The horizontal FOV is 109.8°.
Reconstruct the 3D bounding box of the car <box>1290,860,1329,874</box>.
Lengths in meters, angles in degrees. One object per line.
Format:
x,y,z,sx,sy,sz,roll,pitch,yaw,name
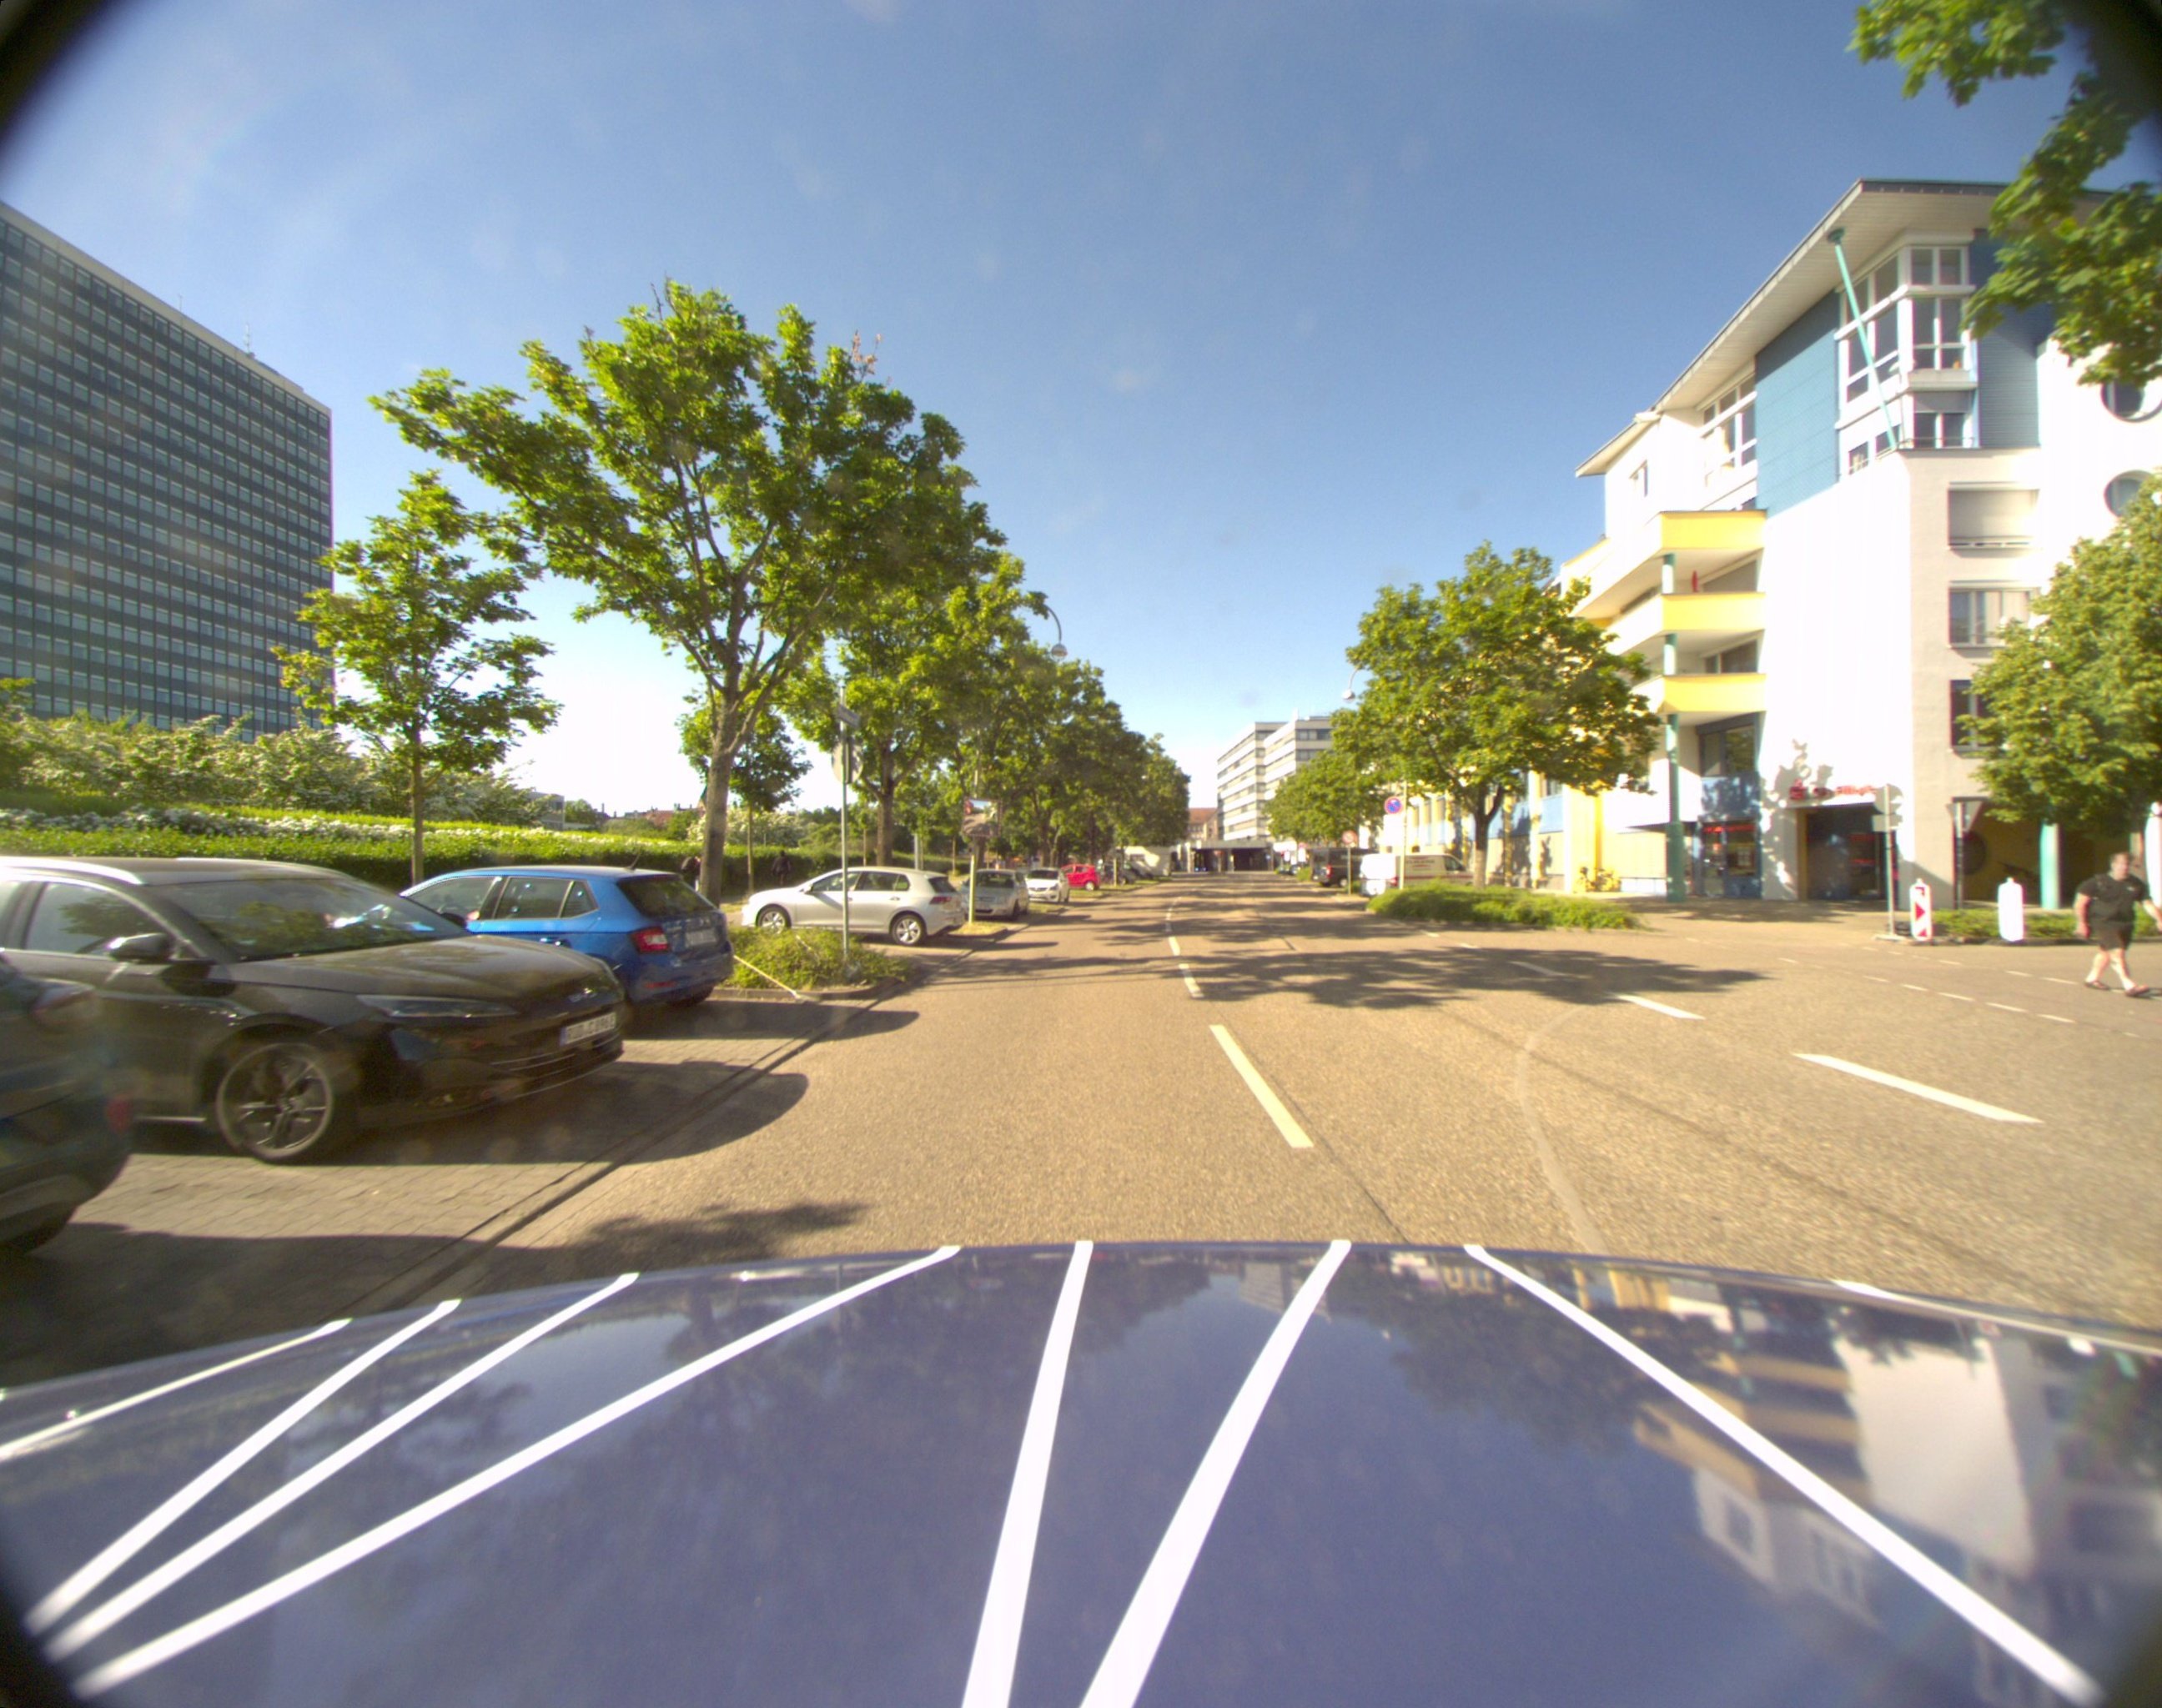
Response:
25.920,1.508,86.261,4.004,1.455,1.808,-2,0,-22,car

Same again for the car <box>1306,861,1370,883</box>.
19.399,1.348,57.367,4.235,1.467,1.769,-1,-1,-10,car

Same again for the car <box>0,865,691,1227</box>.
-5.240,0.912,4.638,4.561,1.506,2.158,2,0,0,car

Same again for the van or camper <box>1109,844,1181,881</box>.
5.675,0.726,66.791,5.991,2.966,2.673,2,0,11,van or camper

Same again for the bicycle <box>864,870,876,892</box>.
-8.520,1.082,30.690,0.347,0.861,1.408,1,0,-12,bicycle

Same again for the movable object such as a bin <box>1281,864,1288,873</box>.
27.135,1.935,101.206,0.674,1.067,0.804,0,0,37,movable object such as a bin

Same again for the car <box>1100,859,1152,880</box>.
3.836,1.307,64.227,4.155,1.537,1.861,2,0,10,car

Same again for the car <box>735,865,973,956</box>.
-4.396,1.050,15.009,4.097,1.421,1.643,3,0,7,car

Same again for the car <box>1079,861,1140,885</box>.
2.158,1.408,56.542,4.199,1.537,1.861,2,0,13,car

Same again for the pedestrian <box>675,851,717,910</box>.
-10.301,0.697,20.329,0.608,1.533,0.937,0,0,3,pedestrian

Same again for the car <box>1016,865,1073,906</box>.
-1.430,1.238,31.297,1.646,1.484,3.768,2,0,7,car

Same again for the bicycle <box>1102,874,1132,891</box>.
2.236,1.785,47.073,1.752,0.985,0.531,1,0,24,bicycle

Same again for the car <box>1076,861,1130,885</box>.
1.584,1.326,53.944,3.466,1.470,1.861,2,0,13,car

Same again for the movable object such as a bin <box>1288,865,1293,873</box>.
27.765,2.012,100.830,0.476,0.954,0.543,-2,0,40,movable object such as a bin

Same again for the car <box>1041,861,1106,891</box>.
-0.422,1.273,44.581,3.439,1.535,1.629,3,1,13,car

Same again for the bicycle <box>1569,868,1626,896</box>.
21.590,1.167,31.788,1.800,1.091,0.702,1,0,13,bicycle

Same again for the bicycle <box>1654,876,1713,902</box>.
21.502,1.235,27.124,1.804,0.866,0.491,-2,0,-7,bicycle

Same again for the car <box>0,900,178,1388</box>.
-5.365,0.886,1.997,3.885,1.506,1.751,2,0,0,car

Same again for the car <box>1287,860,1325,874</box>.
26.394,1.508,89.209,4.004,1.455,1.808,-2,0,-22,car

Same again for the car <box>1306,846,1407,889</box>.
16.907,0.805,46.663,5.508,2.421,2.184,-2,-1,-15,car

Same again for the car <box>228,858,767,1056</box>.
-5.334,0.869,7.314,3.814,1.440,1.745,3,0,2,car

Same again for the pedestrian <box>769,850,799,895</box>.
-10.776,0.663,27.577,0.725,1.578,0.853,0,0,2,pedestrian

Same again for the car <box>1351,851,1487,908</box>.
12.936,0.956,29.052,4.776,1.973,1.997,-1,-1,-23,car

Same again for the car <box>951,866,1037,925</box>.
-2.531,1.182,23.179,1.813,1.484,4.625,2,0,3,car

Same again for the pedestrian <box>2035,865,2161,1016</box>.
12.552,1.001,9.213,0.658,1.715,1.022,1,0,4,pedestrian
